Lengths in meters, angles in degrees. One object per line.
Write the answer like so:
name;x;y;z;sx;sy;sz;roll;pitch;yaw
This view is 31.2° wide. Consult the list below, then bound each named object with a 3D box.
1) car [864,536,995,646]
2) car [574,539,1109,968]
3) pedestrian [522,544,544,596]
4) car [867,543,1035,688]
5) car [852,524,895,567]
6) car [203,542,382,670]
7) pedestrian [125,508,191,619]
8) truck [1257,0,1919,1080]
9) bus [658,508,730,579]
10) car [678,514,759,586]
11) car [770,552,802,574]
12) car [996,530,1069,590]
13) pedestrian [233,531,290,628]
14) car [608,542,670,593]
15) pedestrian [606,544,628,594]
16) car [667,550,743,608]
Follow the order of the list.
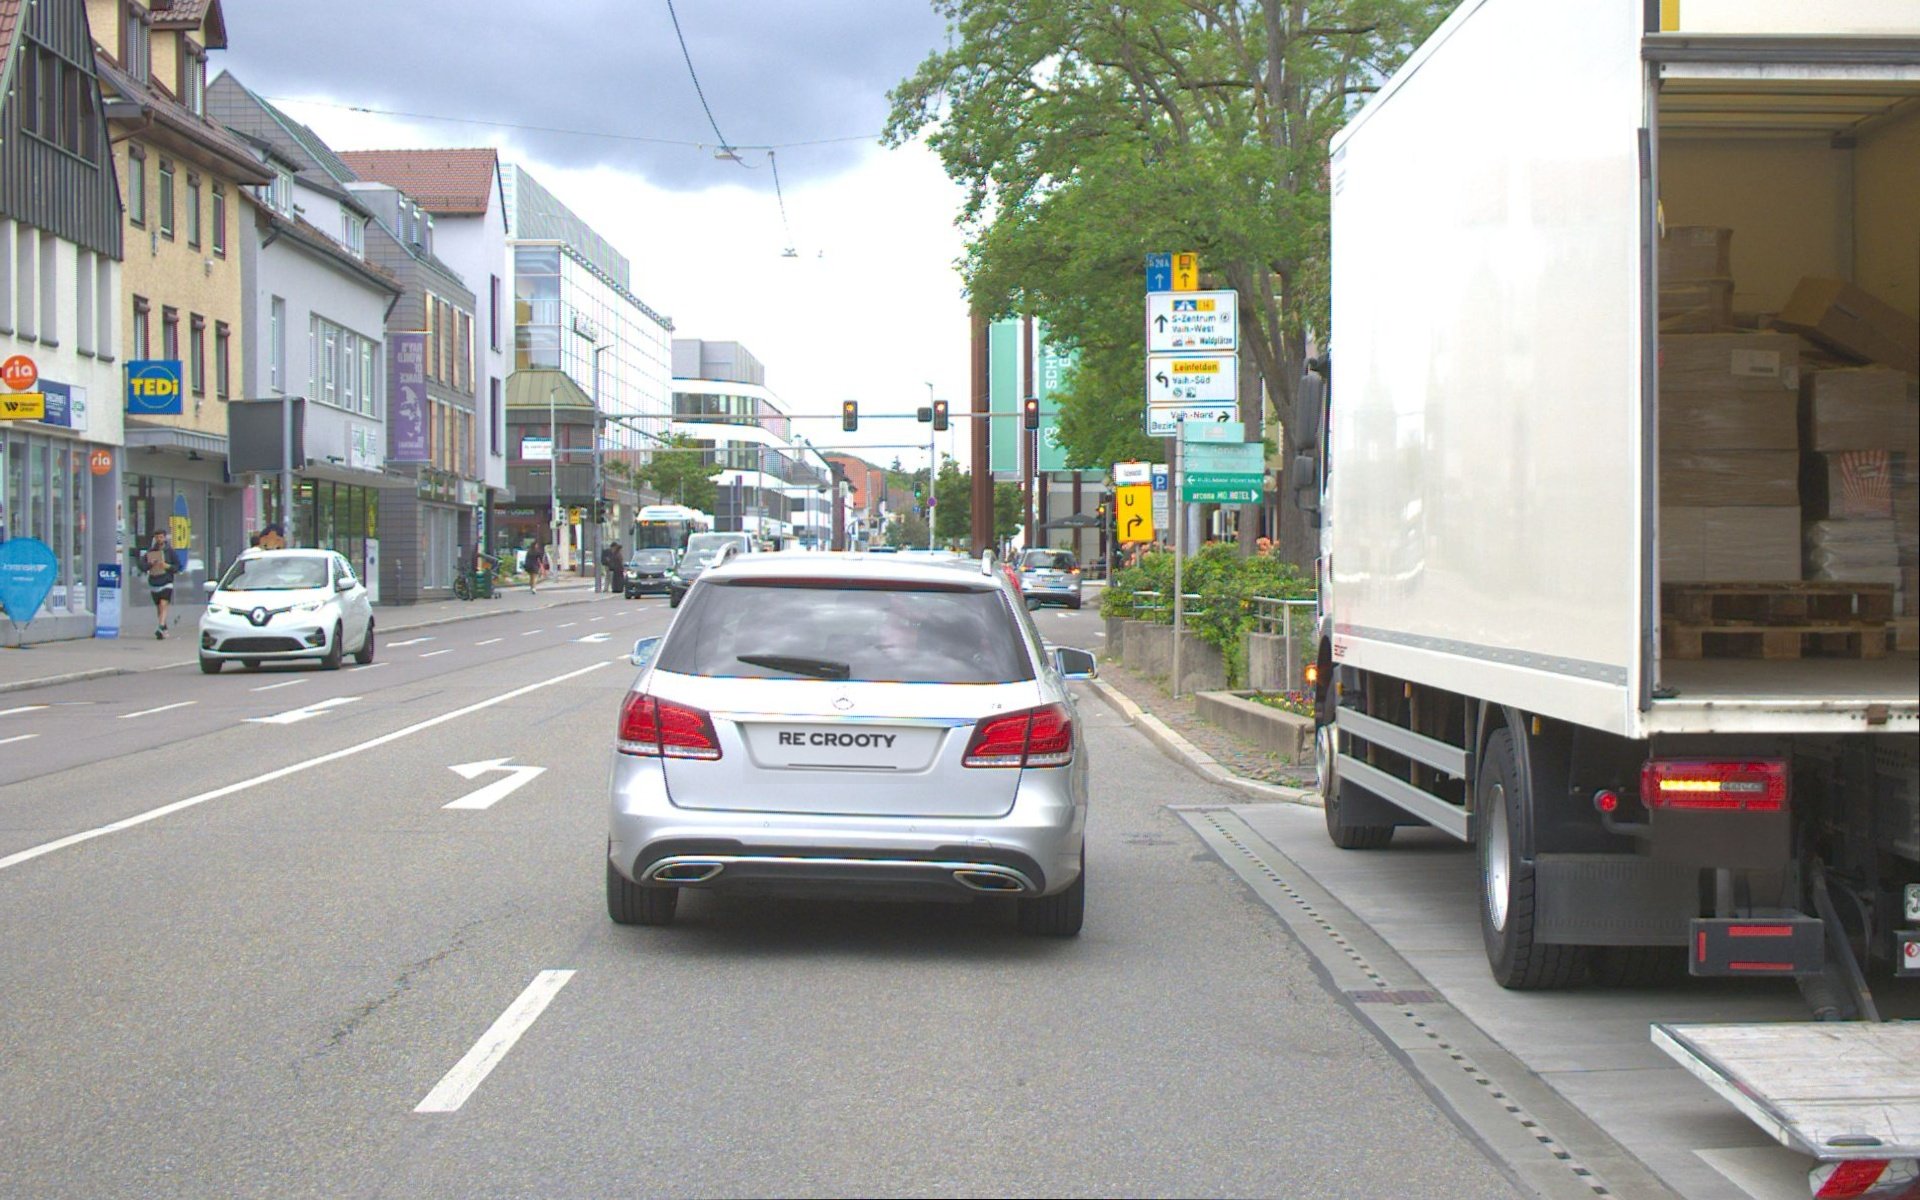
car;-0.467;-0.169;54.126;1.993;1.678;4.000;0;1;0
car;-0.495;0.519;14.147;1.874;1.501;4.000;1;1;-2
pedestrian;-13.854;-0.978;111.443;0.586;1.629;0.615;3;1;-2
car;-0.104;0.148;37.982;1.754;1.515;4.000;0;0;0
car;-4.125;-2.624;164.674;1.993;2.007;4.000;0;1;-1
car;-8.534;0.063;44.215;1.639;1.562;3.927;0;0;-2
pedestrian;-13.026;-0.598;55.848;0.867;1.740;0.806;3;1;-5
truck;3.037;-0.580;14.027;2.688;3.549;9.767;0;1;-1
bus;-11.968;-2.553;155.035;2.775;3.154;5.933;0;1;0
car;-6.873;-1.426;98.379;1.961;1.954;5.140;-1;1;0
car;-9.763;-2.076;193.204;1.575;1.240;3.606;0;1;0
car;2.041;-1.142;97.688;1.993;1.678;4.000;0;1;0
pedestrian;-12.043;-0.356;59.259;0.816;1.629;0.980;2;1;-6
car;-10.002;-1.032;107.231;1.617;1.518;3.508;-1;1;-1
pedestrian;-11.549;-1.052;115.747;0.613;1.629;0.588;3;1;-2
car;-6.508;-0.551;88.057;1.617;1.423;3.923;-1;1;0
